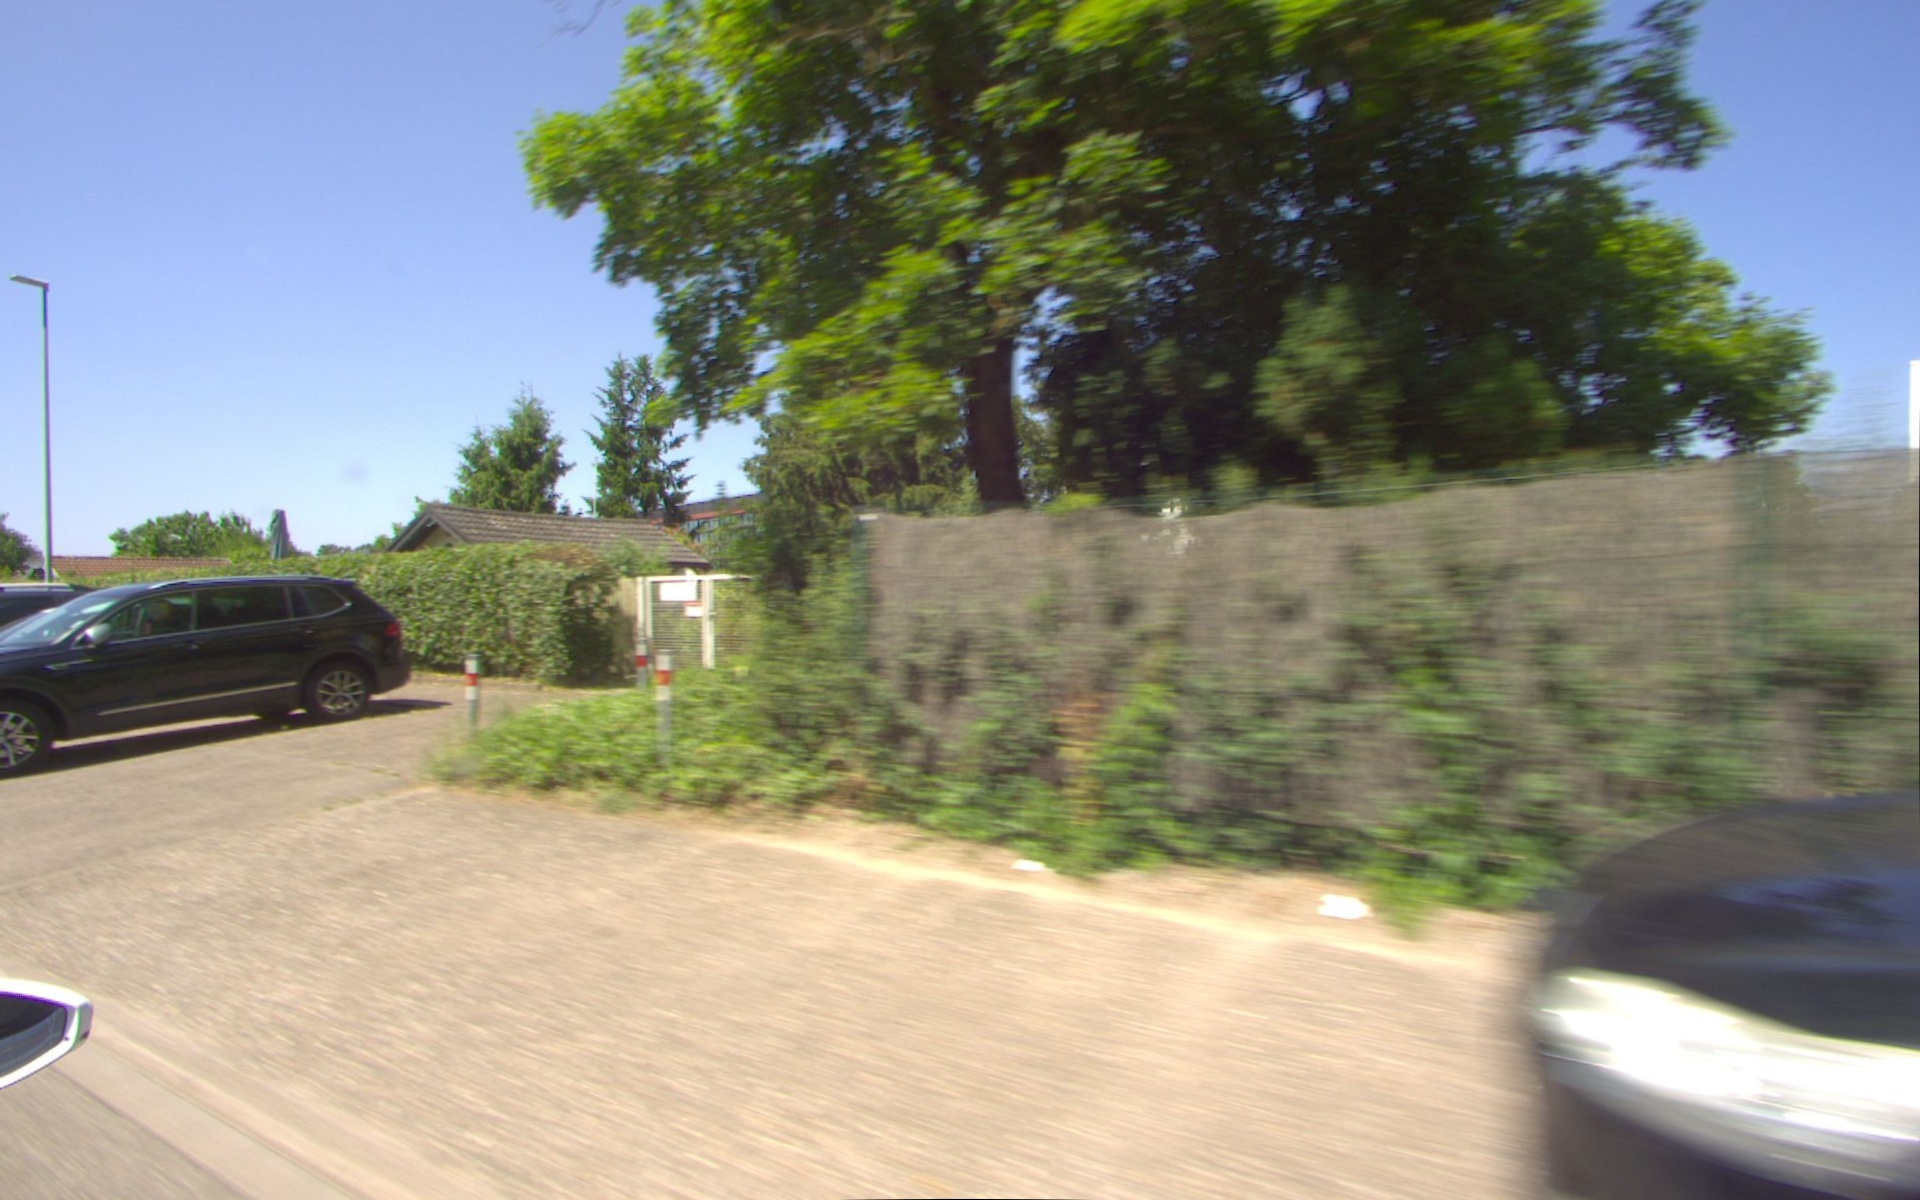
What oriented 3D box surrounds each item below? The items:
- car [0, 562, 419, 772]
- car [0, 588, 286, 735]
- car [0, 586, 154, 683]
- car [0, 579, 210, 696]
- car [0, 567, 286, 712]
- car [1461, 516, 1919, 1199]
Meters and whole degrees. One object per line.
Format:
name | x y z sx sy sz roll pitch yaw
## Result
car | -8.312 0.540 10.273 1.886 1.728 4.459 0 3 31
car | -10.547 0.672 11.720 1.807 1.472 3.983 0 3 35
car | -16.245 0.605 16.196 1.932 1.459 4.547 0 3 30
car | -14.073 0.554 15.087 1.732 1.570 4.038 0 3 31
car | -12.086 0.479 13.760 1.828 1.722 4.242 0 3 35
car | 3.135 0.601 1.007 4.596 1.502 1.785 0 3 32
